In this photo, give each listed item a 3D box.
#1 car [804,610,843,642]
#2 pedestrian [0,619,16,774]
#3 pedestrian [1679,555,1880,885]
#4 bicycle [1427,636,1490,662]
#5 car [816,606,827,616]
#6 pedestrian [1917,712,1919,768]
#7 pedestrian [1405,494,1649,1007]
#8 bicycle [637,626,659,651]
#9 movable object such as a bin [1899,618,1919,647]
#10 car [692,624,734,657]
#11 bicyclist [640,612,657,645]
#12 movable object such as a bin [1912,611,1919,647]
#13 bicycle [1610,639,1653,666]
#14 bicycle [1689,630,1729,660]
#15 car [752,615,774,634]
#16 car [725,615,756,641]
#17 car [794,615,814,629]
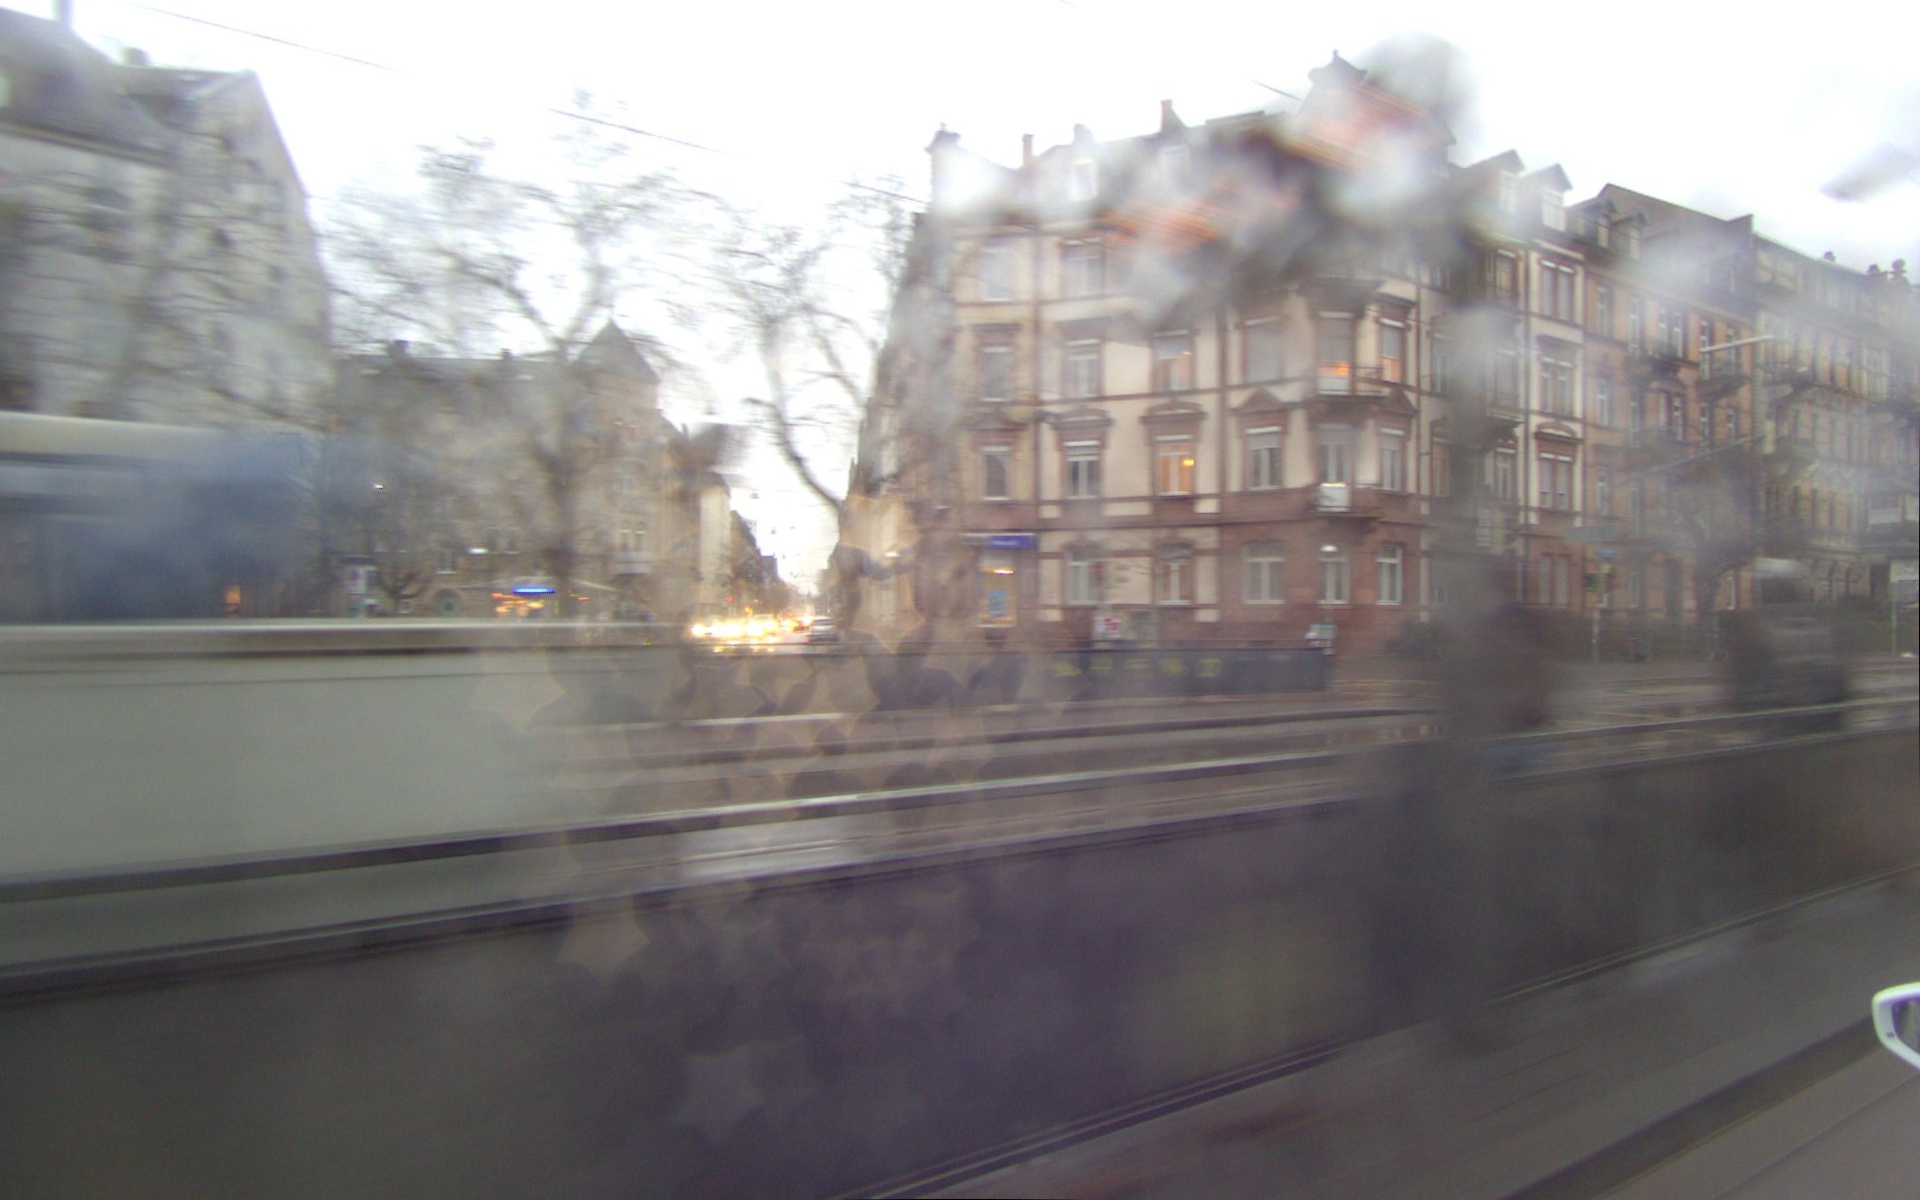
[{"bbox_3d":[-7.633,1.451,55.826,1.964,1.728,3.993,0,-1,-10],"label":"car"},{"bbox_3d":[-8.049,0.790,8.091,0.511,1.235,0.649,1,2,-30],"label":"pedestrian"},{"bbox_3d":[4.603,0.622,5.664,0.564,1.731,0.654,1,2,-29],"label":"pedestrian"},{"bbox_3d":[16.035,1.574,32.312,1.774,0.769,0.401,1,0,6],"label":"bicycle"},{"bbox_3d":[-24.971,2.060,181.431,1.648,1.728,3.998,0,-1,-4],"label":"car"},{"bbox_3d":[9.320,0.602,9.053,0.706,1.943,0.686,1,2,-19],"label":"pedestrian"},{"bbox_3d":[2.212,0.535,3.947,0.564,1.832,0.554,1,2,-29],"label":"pedestrian"},{"bbox_3d":[-13.330,1.623,42.914,0.482,1.020,1.810,0,-1,-3],"label":"bicycle"},{"bbox_3d":[43.079,1.457,45.324,0.738,1.309,0.890,1,0,-32],"label":"movable object such as a bin"},{"bbox_3d":[-13.761,2.228,56.201,1.845,1.795,3.858,0,-1,-7],"label":"car"},{"bbox_3d":[-13.311,1.228,42.950,0.520,1.382,0.765,1,1,-3],"label":"bicyclist"},{"bbox_3d":[44.177,1.313,45.406,1.290,1.607,1.240,1,0,-25],"label":"movable object such as a bin"},{"bbox_3d":[22.269,1.727,33.290,1.827,0.874,0.398,1,0,-30],"label":"bicycle"},{"bbox_3d":[26.494,1.590,35.516,1.827,1.020,0.414,1,0,-30],"label":"bicycle"},{"bbox_3d":[-18.095,2.244,92.436,1.964,1.728,3.992,0,-1,-11],"label":"car"},{"bbox_3d":[-14.904,1.889,68.453,1.964,1.728,3.992,0,-1,-11],"label":"car"},{"bbox_3d":[-18.901,2.637,121.825,1.962,1.728,3.998,0,-1,-4],"label":"car"}]
